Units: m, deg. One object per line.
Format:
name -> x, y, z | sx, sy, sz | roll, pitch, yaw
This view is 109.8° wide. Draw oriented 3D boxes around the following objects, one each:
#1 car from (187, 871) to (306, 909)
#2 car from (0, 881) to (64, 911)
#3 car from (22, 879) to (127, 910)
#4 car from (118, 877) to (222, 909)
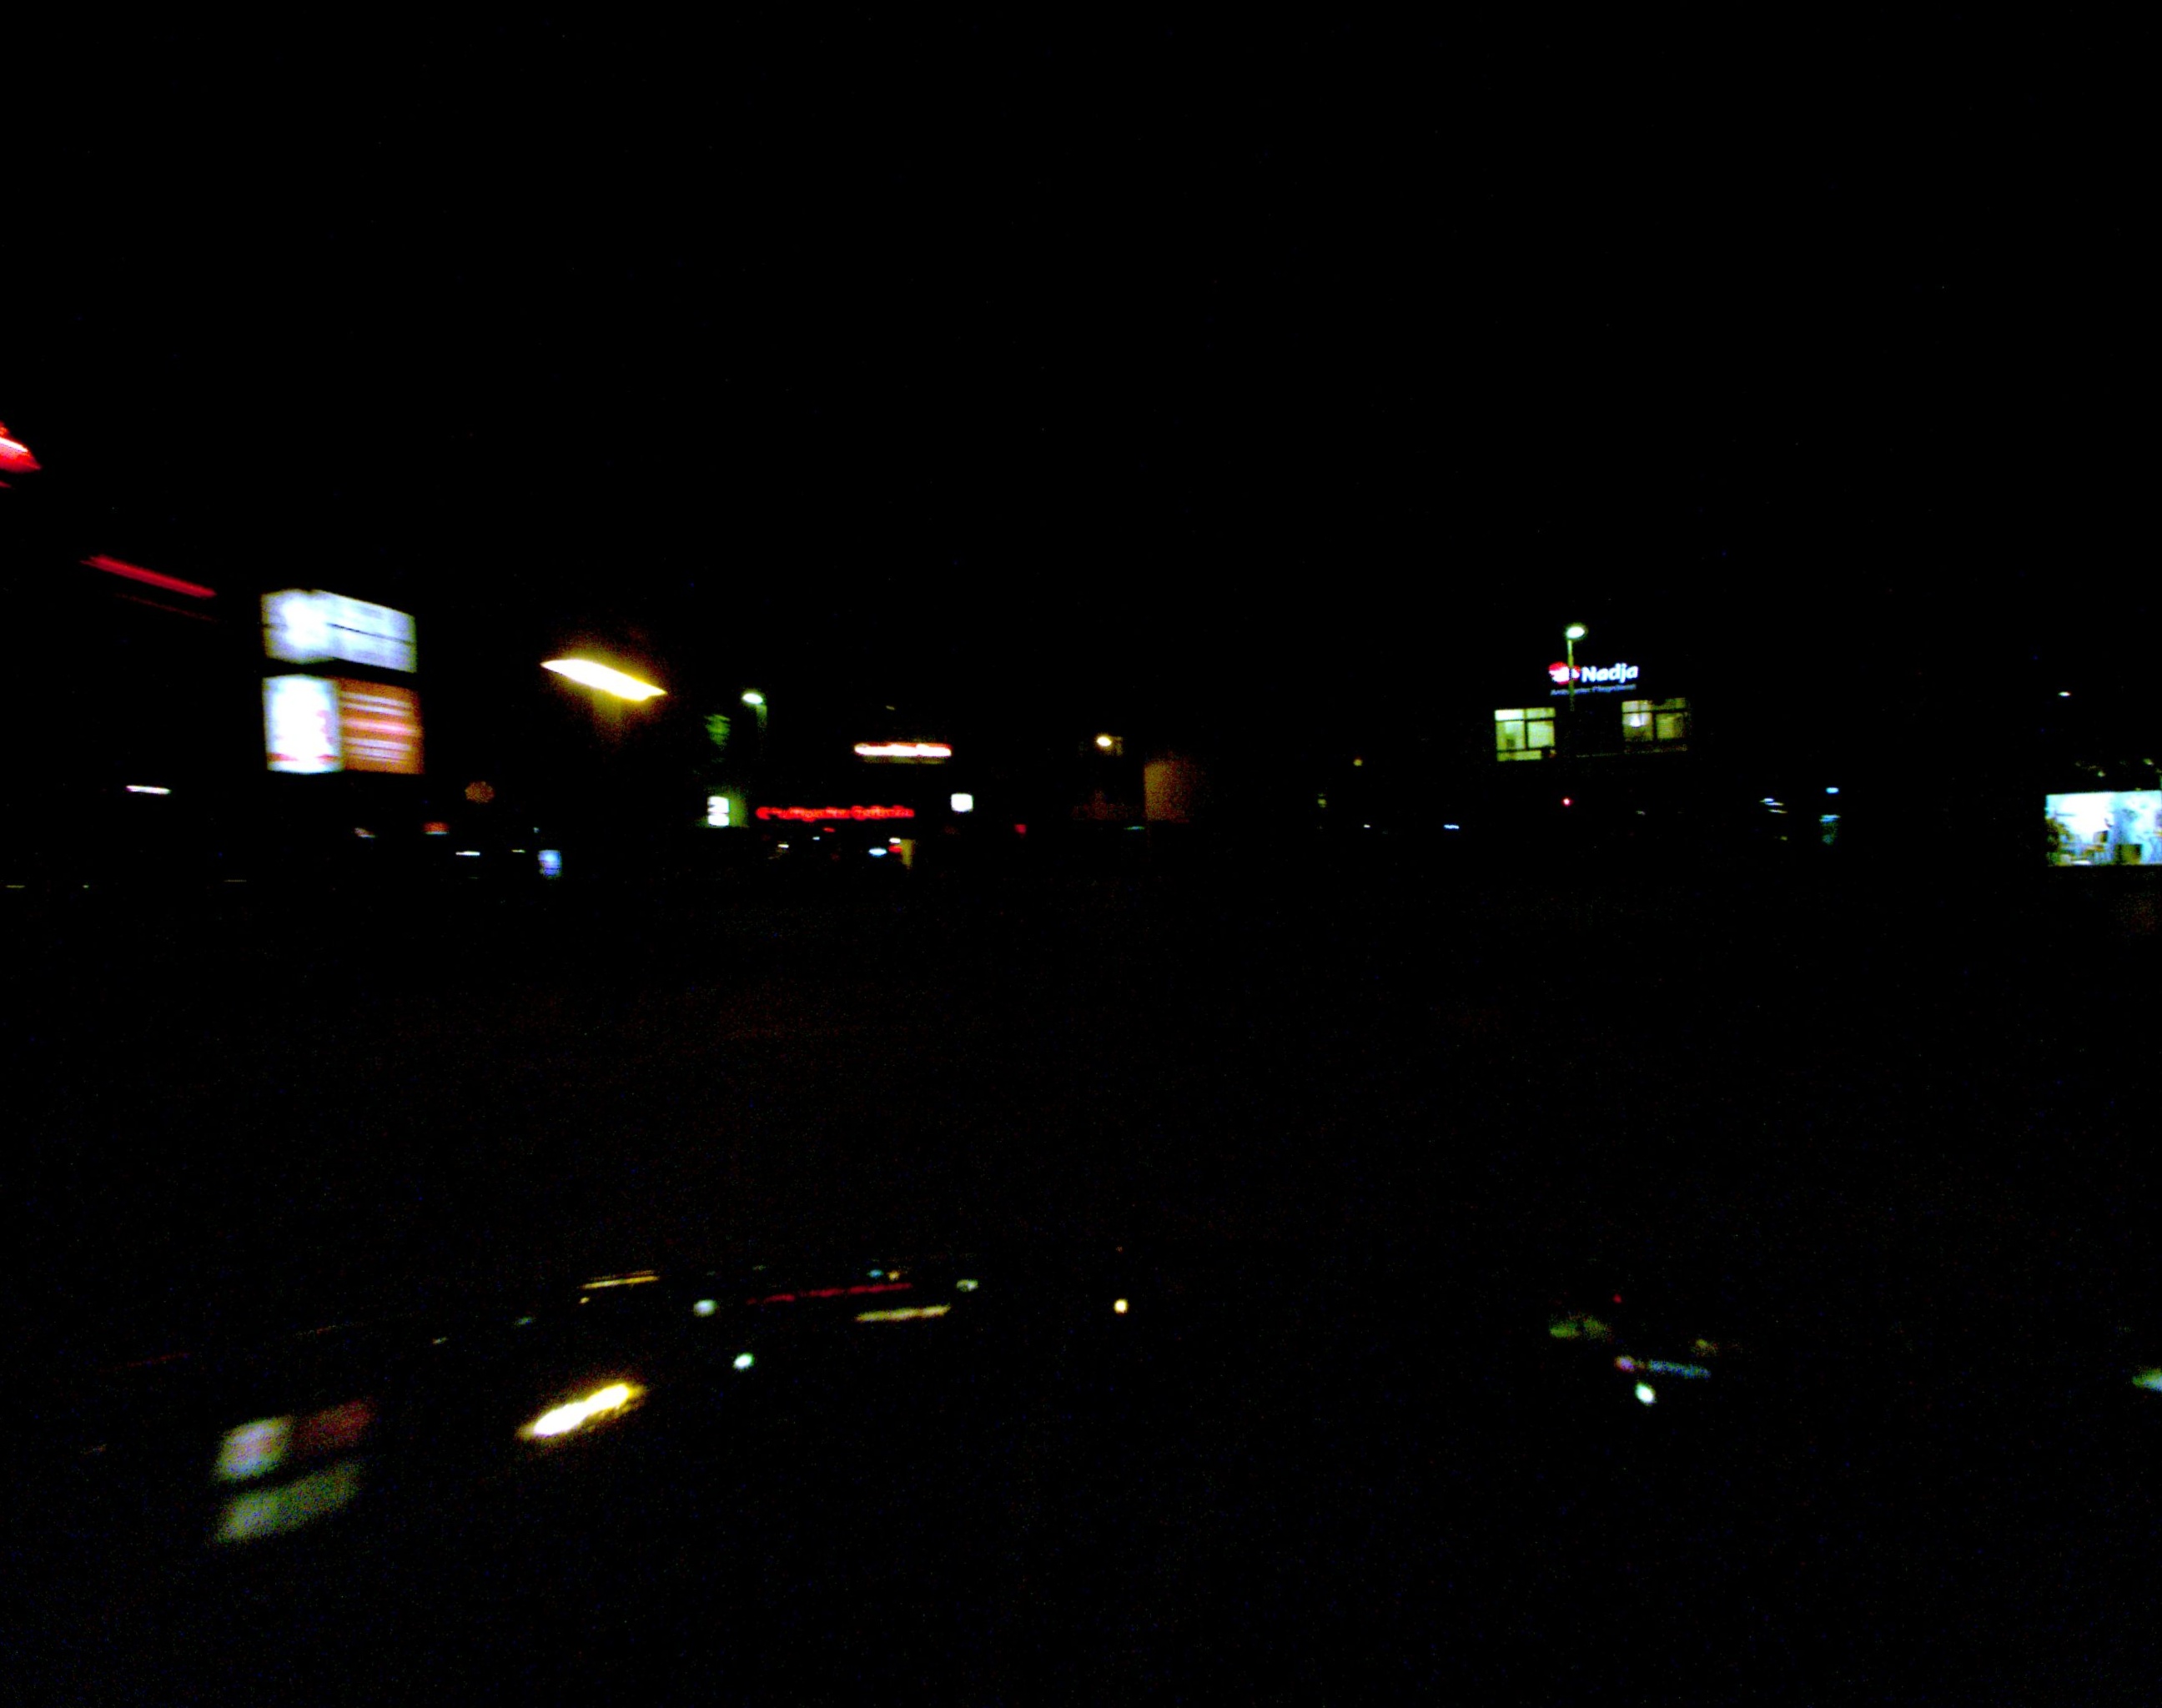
car -> -38.663, 1.670, 35.239 | 3.857, 1.643, 1.876 | -1, -1, 9
car -> -55.290, 2.151, 39.324 | 3.887, 1.444, 1.897 | -1, -1, 16
car -> -50.613, 2.046, 38.228 | 3.887, 1.444, 1.897 | -1, -1, 16
car -> -43.452, 1.861, 36.251 | 3.887, 1.444, 1.898 | -1, -1, 19
